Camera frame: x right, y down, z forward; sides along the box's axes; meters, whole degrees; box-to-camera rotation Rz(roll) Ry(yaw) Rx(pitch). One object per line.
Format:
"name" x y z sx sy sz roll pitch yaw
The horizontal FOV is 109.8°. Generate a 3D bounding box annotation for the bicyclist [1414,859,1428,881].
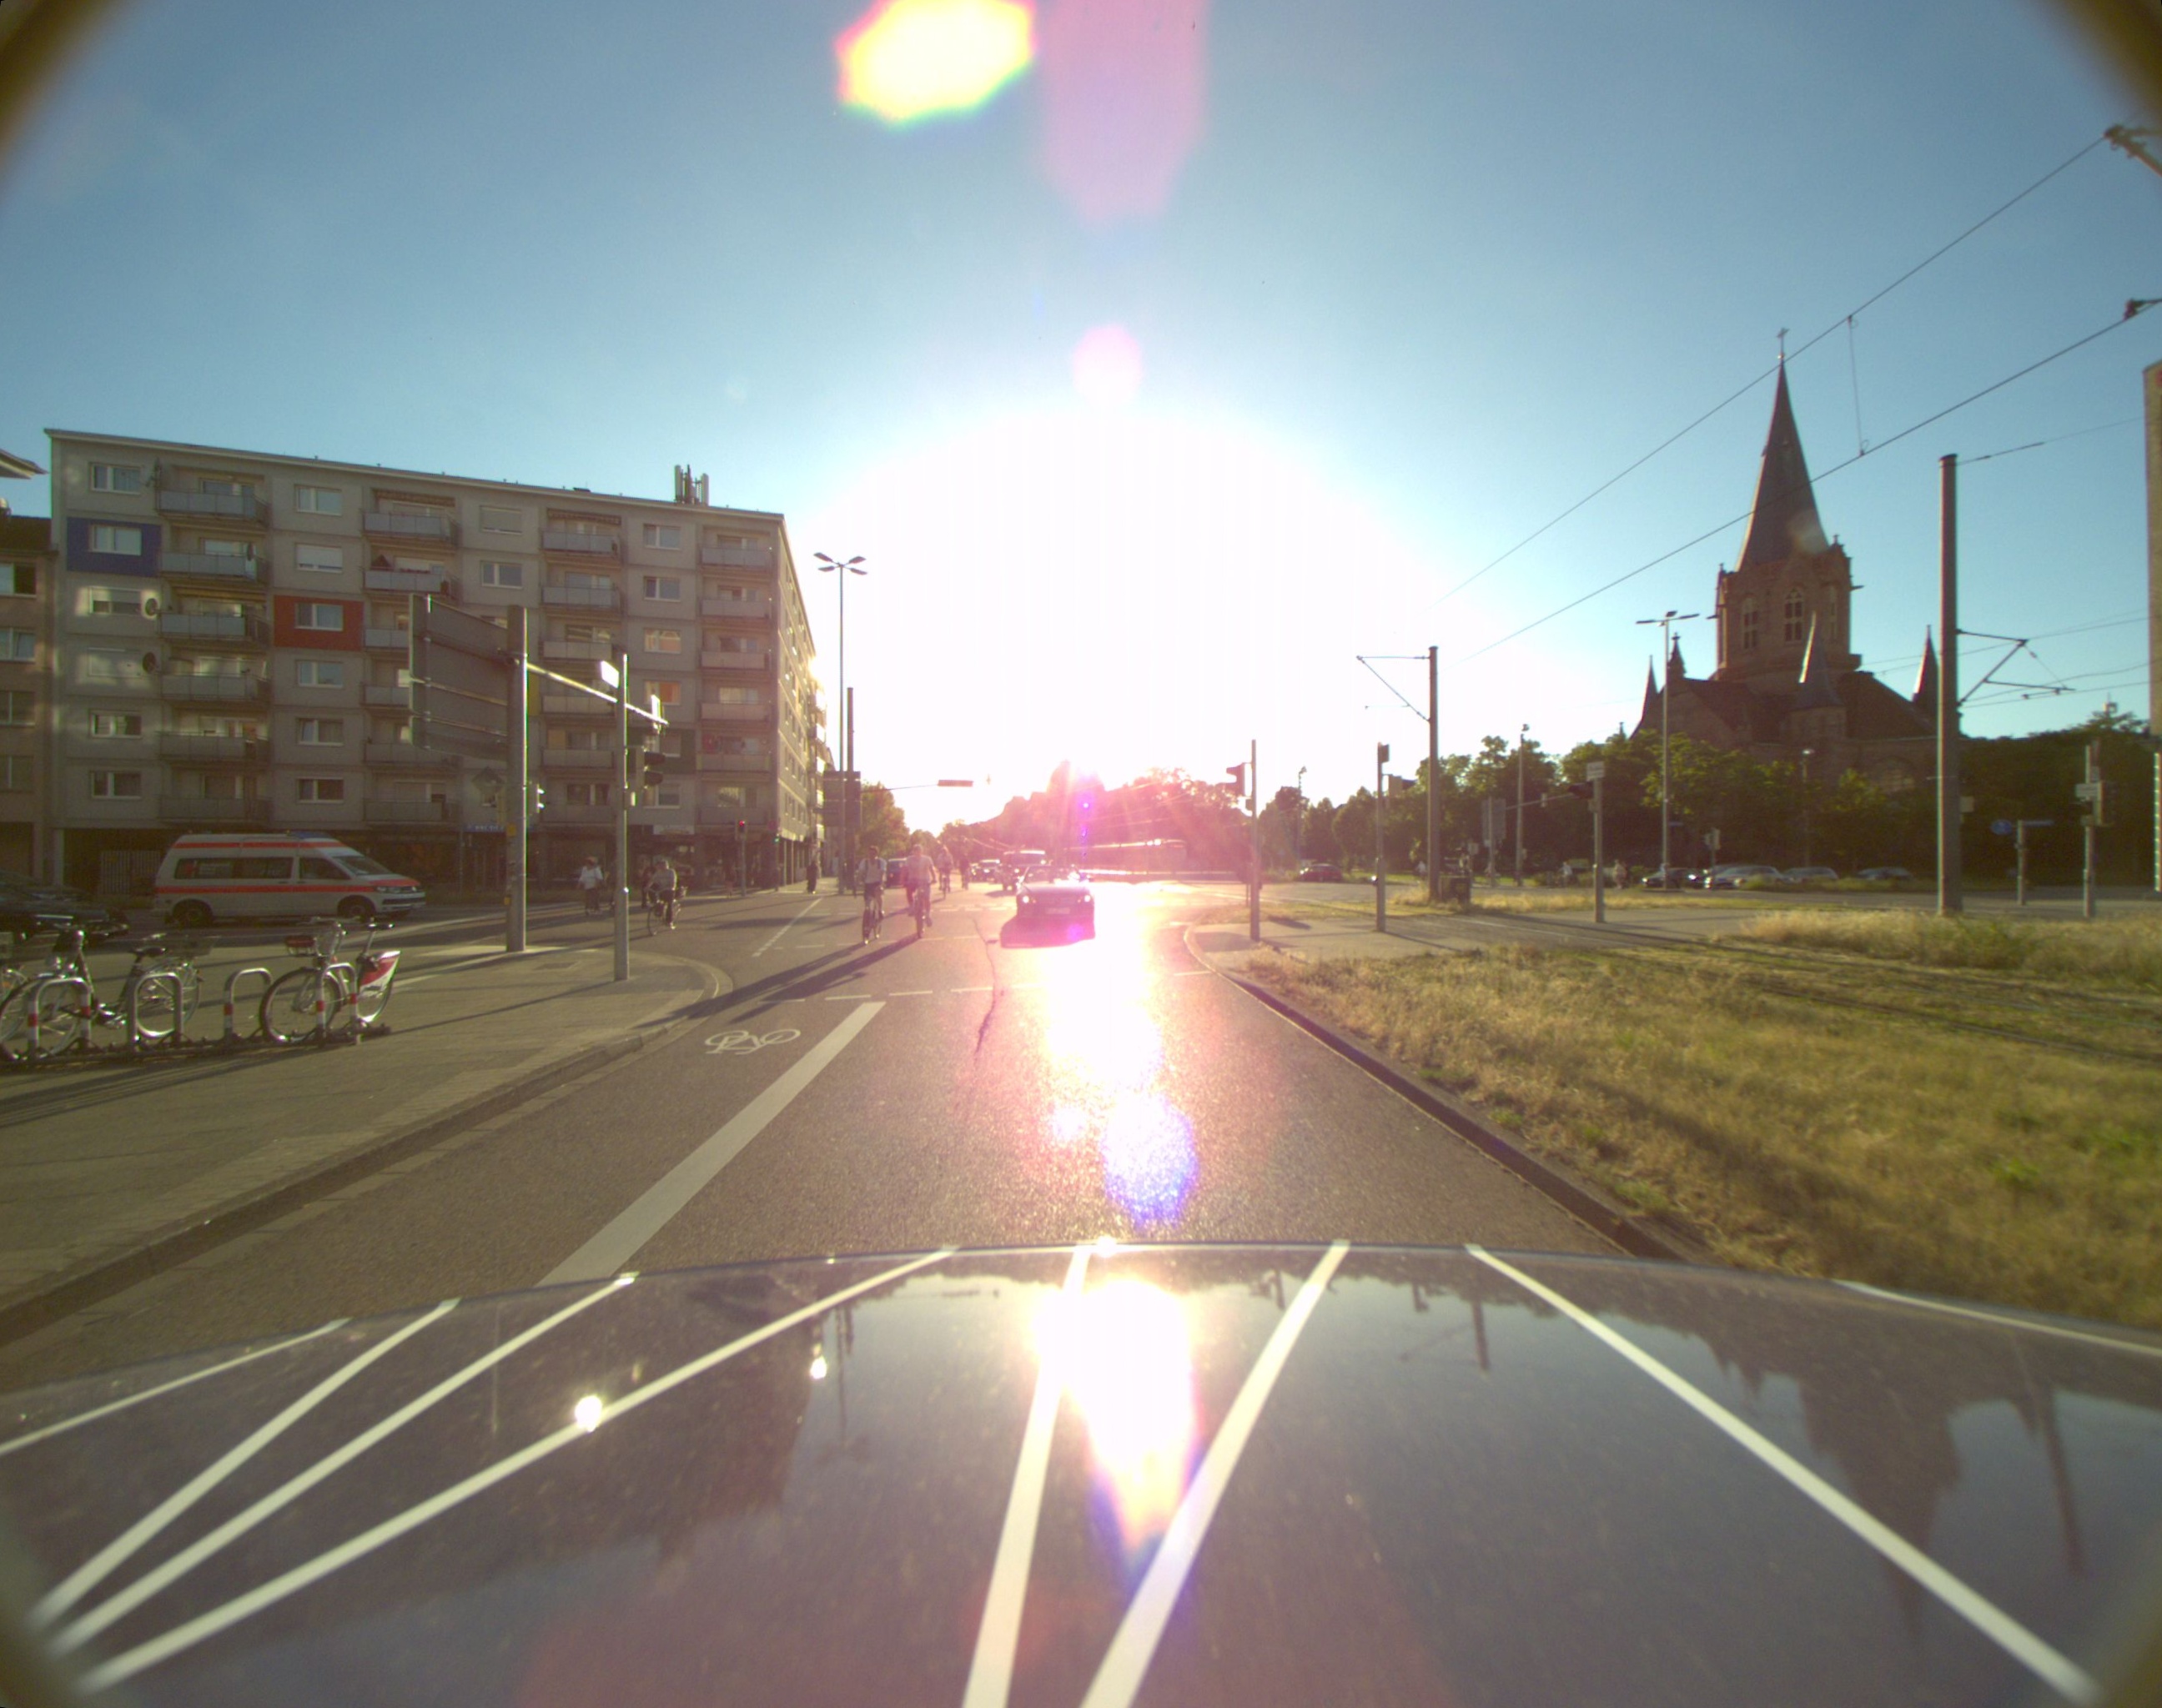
"bicyclist" 28.472 1.346 63.587 0.575 1.816 0.893 -2 0 -16

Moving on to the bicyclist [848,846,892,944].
"bicyclist" -4.008 0.761 14.468 0.676 1.797 0.993 0 0 -9

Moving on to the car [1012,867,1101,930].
"car" -0.711 0.986 18.506 1.777 1.300 4.238 0 0 -7

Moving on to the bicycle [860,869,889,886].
"bicycle" -14.541 1.669 53.438 1.876 1.119 0.567 2 -1 -19

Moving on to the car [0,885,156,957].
"car" -22.382 1.342 15.227 4.679 1.333 1.838 0 0 -14

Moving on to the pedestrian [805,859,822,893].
"pedestrian" -13.496 1.112 38.362 0.664 1.694 1.070 0 0 -11

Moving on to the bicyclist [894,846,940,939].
"bicyclist" -3.272 0.746 15.257 0.829 1.797 1.056 0 0 -9

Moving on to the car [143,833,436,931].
"car" -21.274 0.694 20.730 5.270 2.468 1.923 0 0 -16

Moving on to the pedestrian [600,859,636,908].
"pedestrian" -16.133 1.012 26.503 0.786 1.691 1.026 0 0 -14

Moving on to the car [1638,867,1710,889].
"car" 40.376 1.592 51.740 4.002 1.411 1.900 0 0 -16

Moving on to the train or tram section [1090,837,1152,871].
"train or tram section" 4.240 0.089 85.384 2.784 3.515 13.233 0 0 -16

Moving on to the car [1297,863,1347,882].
"car" 19.065 1.455 60.276 1.732 1.406 3.880 0 -1 -21

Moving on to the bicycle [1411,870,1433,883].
"bicycle" 28.540 1.846 63.595 0.525 1.020 1.928 -2 0 -16

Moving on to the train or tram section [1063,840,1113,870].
"train or tram section" 0.706 0.198 97.439 2.784 3.515 13.233 0 0 -16

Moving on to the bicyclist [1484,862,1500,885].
"bicyclist" 29.695 1.392 54.895 0.575 1.671 0.893 -2 0 -16

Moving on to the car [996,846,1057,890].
"car" -2.708 0.650 36.807 1.922 1.978 4.940 0 0 -17

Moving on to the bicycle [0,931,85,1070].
"bicycle" -9.579 1.286 6.148 0.647 1.151 2.122 0 -1 -14

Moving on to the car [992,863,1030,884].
"car" -5.382 1.457 57.876 1.845 1.392 4.577 -3 0 -18

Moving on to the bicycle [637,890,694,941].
"bicycle" -9.407 1.363 17.266 0.522 0.975 1.848 0 1 -9

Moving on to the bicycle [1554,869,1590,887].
"bicycle" 31.229 1.522 48.326 0.460 1.139 1.915 -2 0 -29

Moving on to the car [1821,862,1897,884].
"car" 52.851 1.258 51.619 4.002 1.411 1.900 0 0 -16

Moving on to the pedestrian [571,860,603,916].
"pedestrian" -15.000 1.020 23.098 0.570 1.691 0.811 0 0 -14

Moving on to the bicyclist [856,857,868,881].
"bicyclist" -16.957 1.155 58.853 0.744 1.797 1.384 -1 0 -13

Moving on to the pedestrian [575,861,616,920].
"pedestrian" -13.988 1.039 21.898 0.730 1.652 0.904 0 0 -14

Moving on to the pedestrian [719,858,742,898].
"pedestrian" -14.132 0.975 30.638 0.684 1.580 0.746 0 0 -11

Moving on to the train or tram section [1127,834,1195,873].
"train or tram section" 7.564 -0.003 73.966 2.784 3.515 10.556 0 0 -16

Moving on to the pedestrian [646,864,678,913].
"pedestrian" -12.878 1.048 23.360 0.684 1.491 0.746 0 0 -14

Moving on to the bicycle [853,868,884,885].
"bicycle" -13.871 1.476 49.597 1.875 1.055 0.606 0 0 -18

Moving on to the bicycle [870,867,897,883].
"bicycle" -14.829 1.602 57.040 1.876 1.119 0.567 2 -1 -19

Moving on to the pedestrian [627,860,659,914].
"pedestrian" -13.762 1.033 23.875 0.684 1.652 0.746 0 0 -14

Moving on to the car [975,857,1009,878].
"car" -7.706 1.145 65.608 1.958 1.702 4.844 -3 0 -17

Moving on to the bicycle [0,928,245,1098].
"bicycle" -8.315 1.263 6.483 0.647 1.120 1.872 0 -1 -14

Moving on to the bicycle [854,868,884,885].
"bicycle" -13.682 1.470 49.018 1.875 1.055 0.606 0 0 -18

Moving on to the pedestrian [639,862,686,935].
"pedestrian" -9.389 0.980 17.063 0.677 1.580 0.761 0 2 -9

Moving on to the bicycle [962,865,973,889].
"bicycle" -5.790 1.160 38.734 0.530 1.152 1.847 -1 0 -9

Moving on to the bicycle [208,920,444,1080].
"bicycle" -6.694 1.219 6.891 0.647 1.120 1.872 0 -1 -14

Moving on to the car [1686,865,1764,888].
"car" 41.270 1.430 48.683 4.002 1.411 1.900 0 0 -16

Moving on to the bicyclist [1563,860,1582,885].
"bicyclist" 31.232 1.189 48.299 0.522 1.574 0.819 -2 0 -28

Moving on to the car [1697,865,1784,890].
"car" 39.159 1.362 45.122 4.001 1.411 1.900 0 0 -12

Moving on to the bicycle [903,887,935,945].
"bicycle" -3.267 1.219 15.419 0.480 1.022 1.980 -2 0 -9

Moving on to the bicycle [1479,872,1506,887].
"bicycle" 29.711 1.819 54.899 0.460 1.020 1.928 -2 0 -15

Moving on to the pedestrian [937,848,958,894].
"pedestrian" -4.877 0.609 27.710 0.640 1.639 0.843 -1 0 -5

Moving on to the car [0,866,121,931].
"car" -27.261 1.084 18.841 4.088 1.561 1.595 0 0 -17

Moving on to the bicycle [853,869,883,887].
"bicycle" -14.230 1.608 50.757 1.876 1.119 0.567 2 -1 -19

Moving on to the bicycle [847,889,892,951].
"bicycle" -4.001 1.223 14.489 0.577 1.022 1.855 -2 0 -9

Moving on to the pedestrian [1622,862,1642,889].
"pedestrian" 34.095 1.324 47.023 0.738 1.663 0.717 0 0 -13

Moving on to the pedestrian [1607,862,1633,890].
"pedestrian" 33.297 1.344 46.978 0.738 1.663 1.104 0 0 -13

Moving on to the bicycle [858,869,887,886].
"bicycle" -14.812 1.665 53.952 1.876 1.119 0.567 2 -1 -19

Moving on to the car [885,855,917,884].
"car" -12.533 1.052 52.812 1.944 1.922 4.825 0 0 -16

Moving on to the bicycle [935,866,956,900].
"bicycle" -4.926 1.036 27.714 0.530 1.152 1.848 -1 0 -5

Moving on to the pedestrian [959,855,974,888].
"pedestrian" -5.826 0.866 38.723 0.679 1.639 0.901 -2 0 -8

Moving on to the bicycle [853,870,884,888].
"bicycle" -14.037 1.625 50.198 1.876 1.119 0.606 2 -1 -19

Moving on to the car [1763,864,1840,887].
"car" 47.471 1.389 50.058 4.002 1.411 1.900 0 0 -16

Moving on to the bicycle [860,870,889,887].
"bicycle" -14.364 1.682 52.894 1.876 1.119 0.567 2 -1 -19
